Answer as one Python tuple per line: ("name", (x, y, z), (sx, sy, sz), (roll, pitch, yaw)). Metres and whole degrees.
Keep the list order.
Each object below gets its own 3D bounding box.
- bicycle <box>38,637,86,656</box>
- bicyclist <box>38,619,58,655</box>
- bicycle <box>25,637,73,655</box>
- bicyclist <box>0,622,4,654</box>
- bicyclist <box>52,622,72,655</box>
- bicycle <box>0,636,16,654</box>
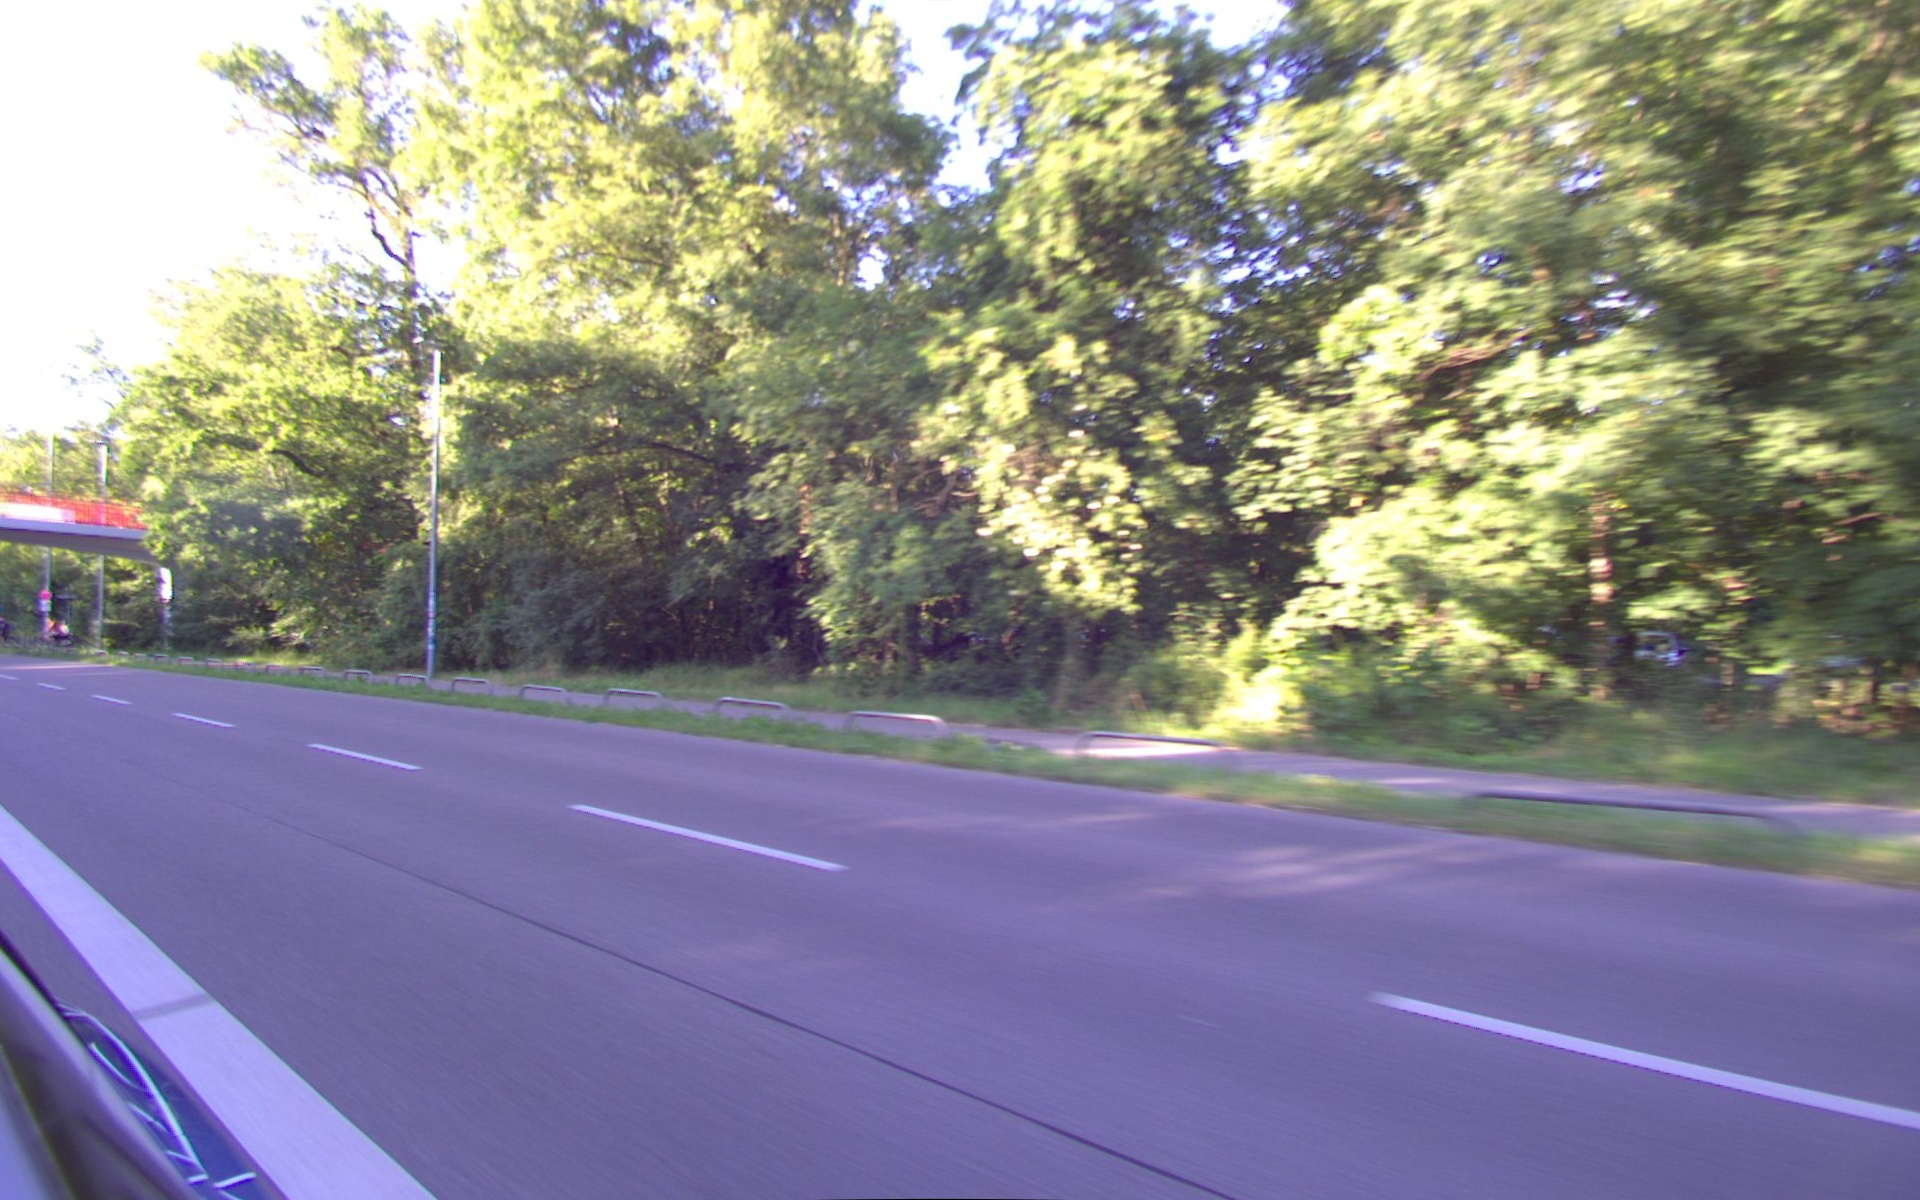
("bicycle", (-47.990, 2.464, 54.094), (1.904, 0.941, 0.825), (1, -2, -43))
("bicyclist", (-49.275, 1.972, 54.674), (0.786, 1.915, 0.818), (0, -2, -43))
("bicycle", (-49.248, 2.496, 54.693), (1.904, 0.941, 0.825), (1, -2, -43))
("bicyclist", (-50.087, 1.969, 52.436), (0.786, 1.656, 0.842), (0, -2, -43))
("bicyclist", (-47.985, 2.039, 54.093), (0.786, 1.710, 0.946), (0, -2, -43))
("bicycle", (-50.169, 2.344, 52.353), (1.904, 0.941, 0.825), (0, -2, -43))
